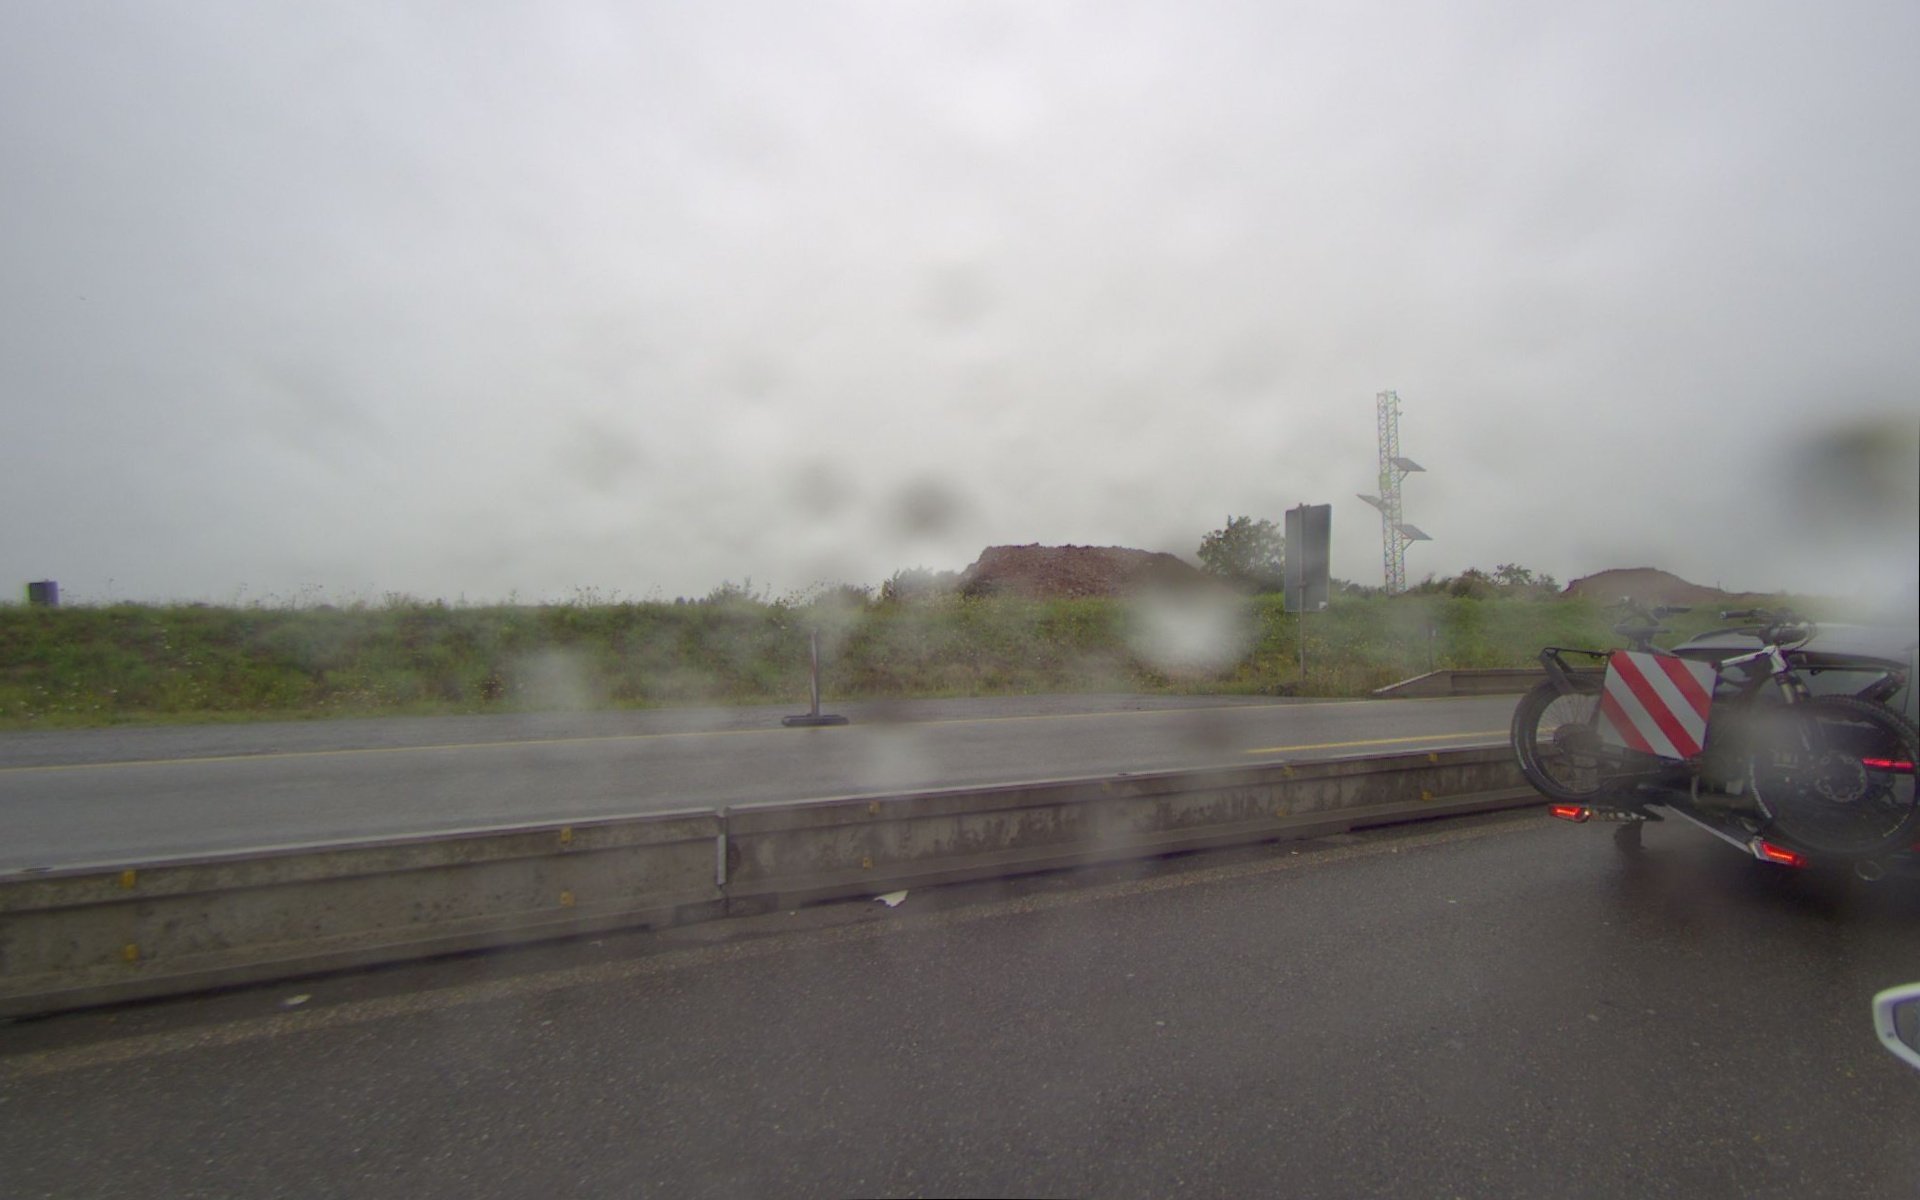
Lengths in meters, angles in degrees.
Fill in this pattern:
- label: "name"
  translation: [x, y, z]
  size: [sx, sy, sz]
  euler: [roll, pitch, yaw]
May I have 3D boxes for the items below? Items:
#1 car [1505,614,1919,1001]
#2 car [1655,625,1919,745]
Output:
- label: "car"
  translation: [5.921, 0.889, 6.252]
  size: [5.559, 1.482, 1.727]
  euler: [0, 1, -29]
- label: "car"
  translation: [12.148, 1.176, 14.612]
  size: [4.409, 1.462, 1.602]
  euler: [2, 0, -30]
